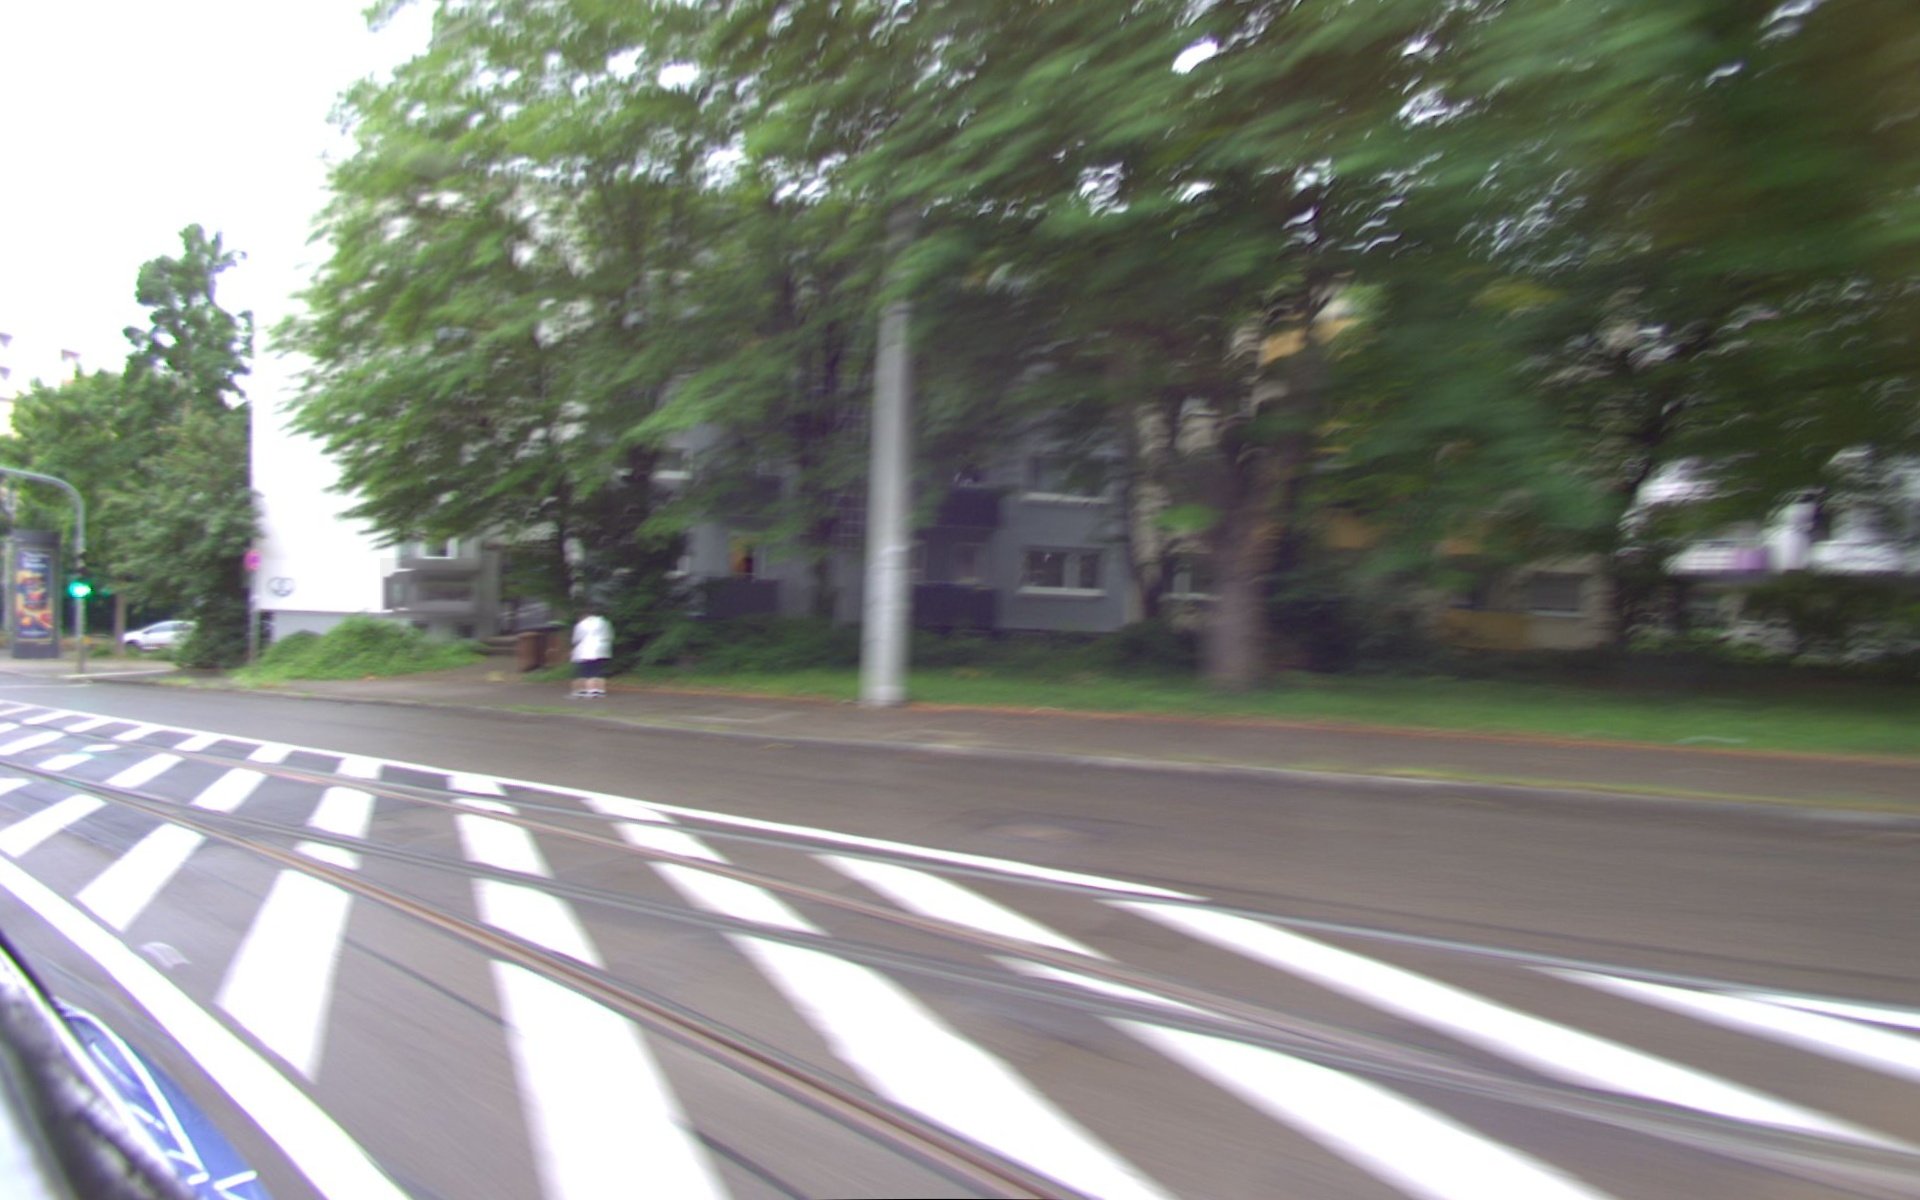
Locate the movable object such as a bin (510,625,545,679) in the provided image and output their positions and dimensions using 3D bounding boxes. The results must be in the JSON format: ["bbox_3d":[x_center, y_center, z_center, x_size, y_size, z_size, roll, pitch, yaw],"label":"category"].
[{"bbox_3d":[-10.655,1.272,24.927,0.617,1.242,0.668,2,2,-8],"label":"movable object such as a bin"}]

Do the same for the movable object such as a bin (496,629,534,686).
[{"bbox_3d":[-10.389,1.340,23.639,0.617,1.242,0.668,2,2,-8],"label":"movable object such as a bin"}]

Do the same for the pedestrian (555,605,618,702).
[{"bbox_3d":[-6.485,0.903,17.582,0.866,1.612,0.579,0,2,30],"label":"pedestrian"}]

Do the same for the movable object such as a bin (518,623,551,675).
[{"bbox_3d":[-10.761,1.237,25.606,0.617,1.242,0.668,2,2,-8],"label":"movable object such as a bin"}]

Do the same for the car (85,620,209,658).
[{"bbox_3d":[-37.980,1.826,47.377,4.093,1.492,2.005,2,3,-10],"label":"car"}]

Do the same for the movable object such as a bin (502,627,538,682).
[{"bbox_3d":[-10.557,1.304,24.289,0.617,1.242,0.668,2,2,-8],"label":"movable object such as a bin"}]

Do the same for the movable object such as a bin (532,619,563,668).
[{"bbox_3d":[-11.021,1.163,27.048,0.617,1.242,0.628,2,2,-8],"label":"movable object such as a bin"}]
